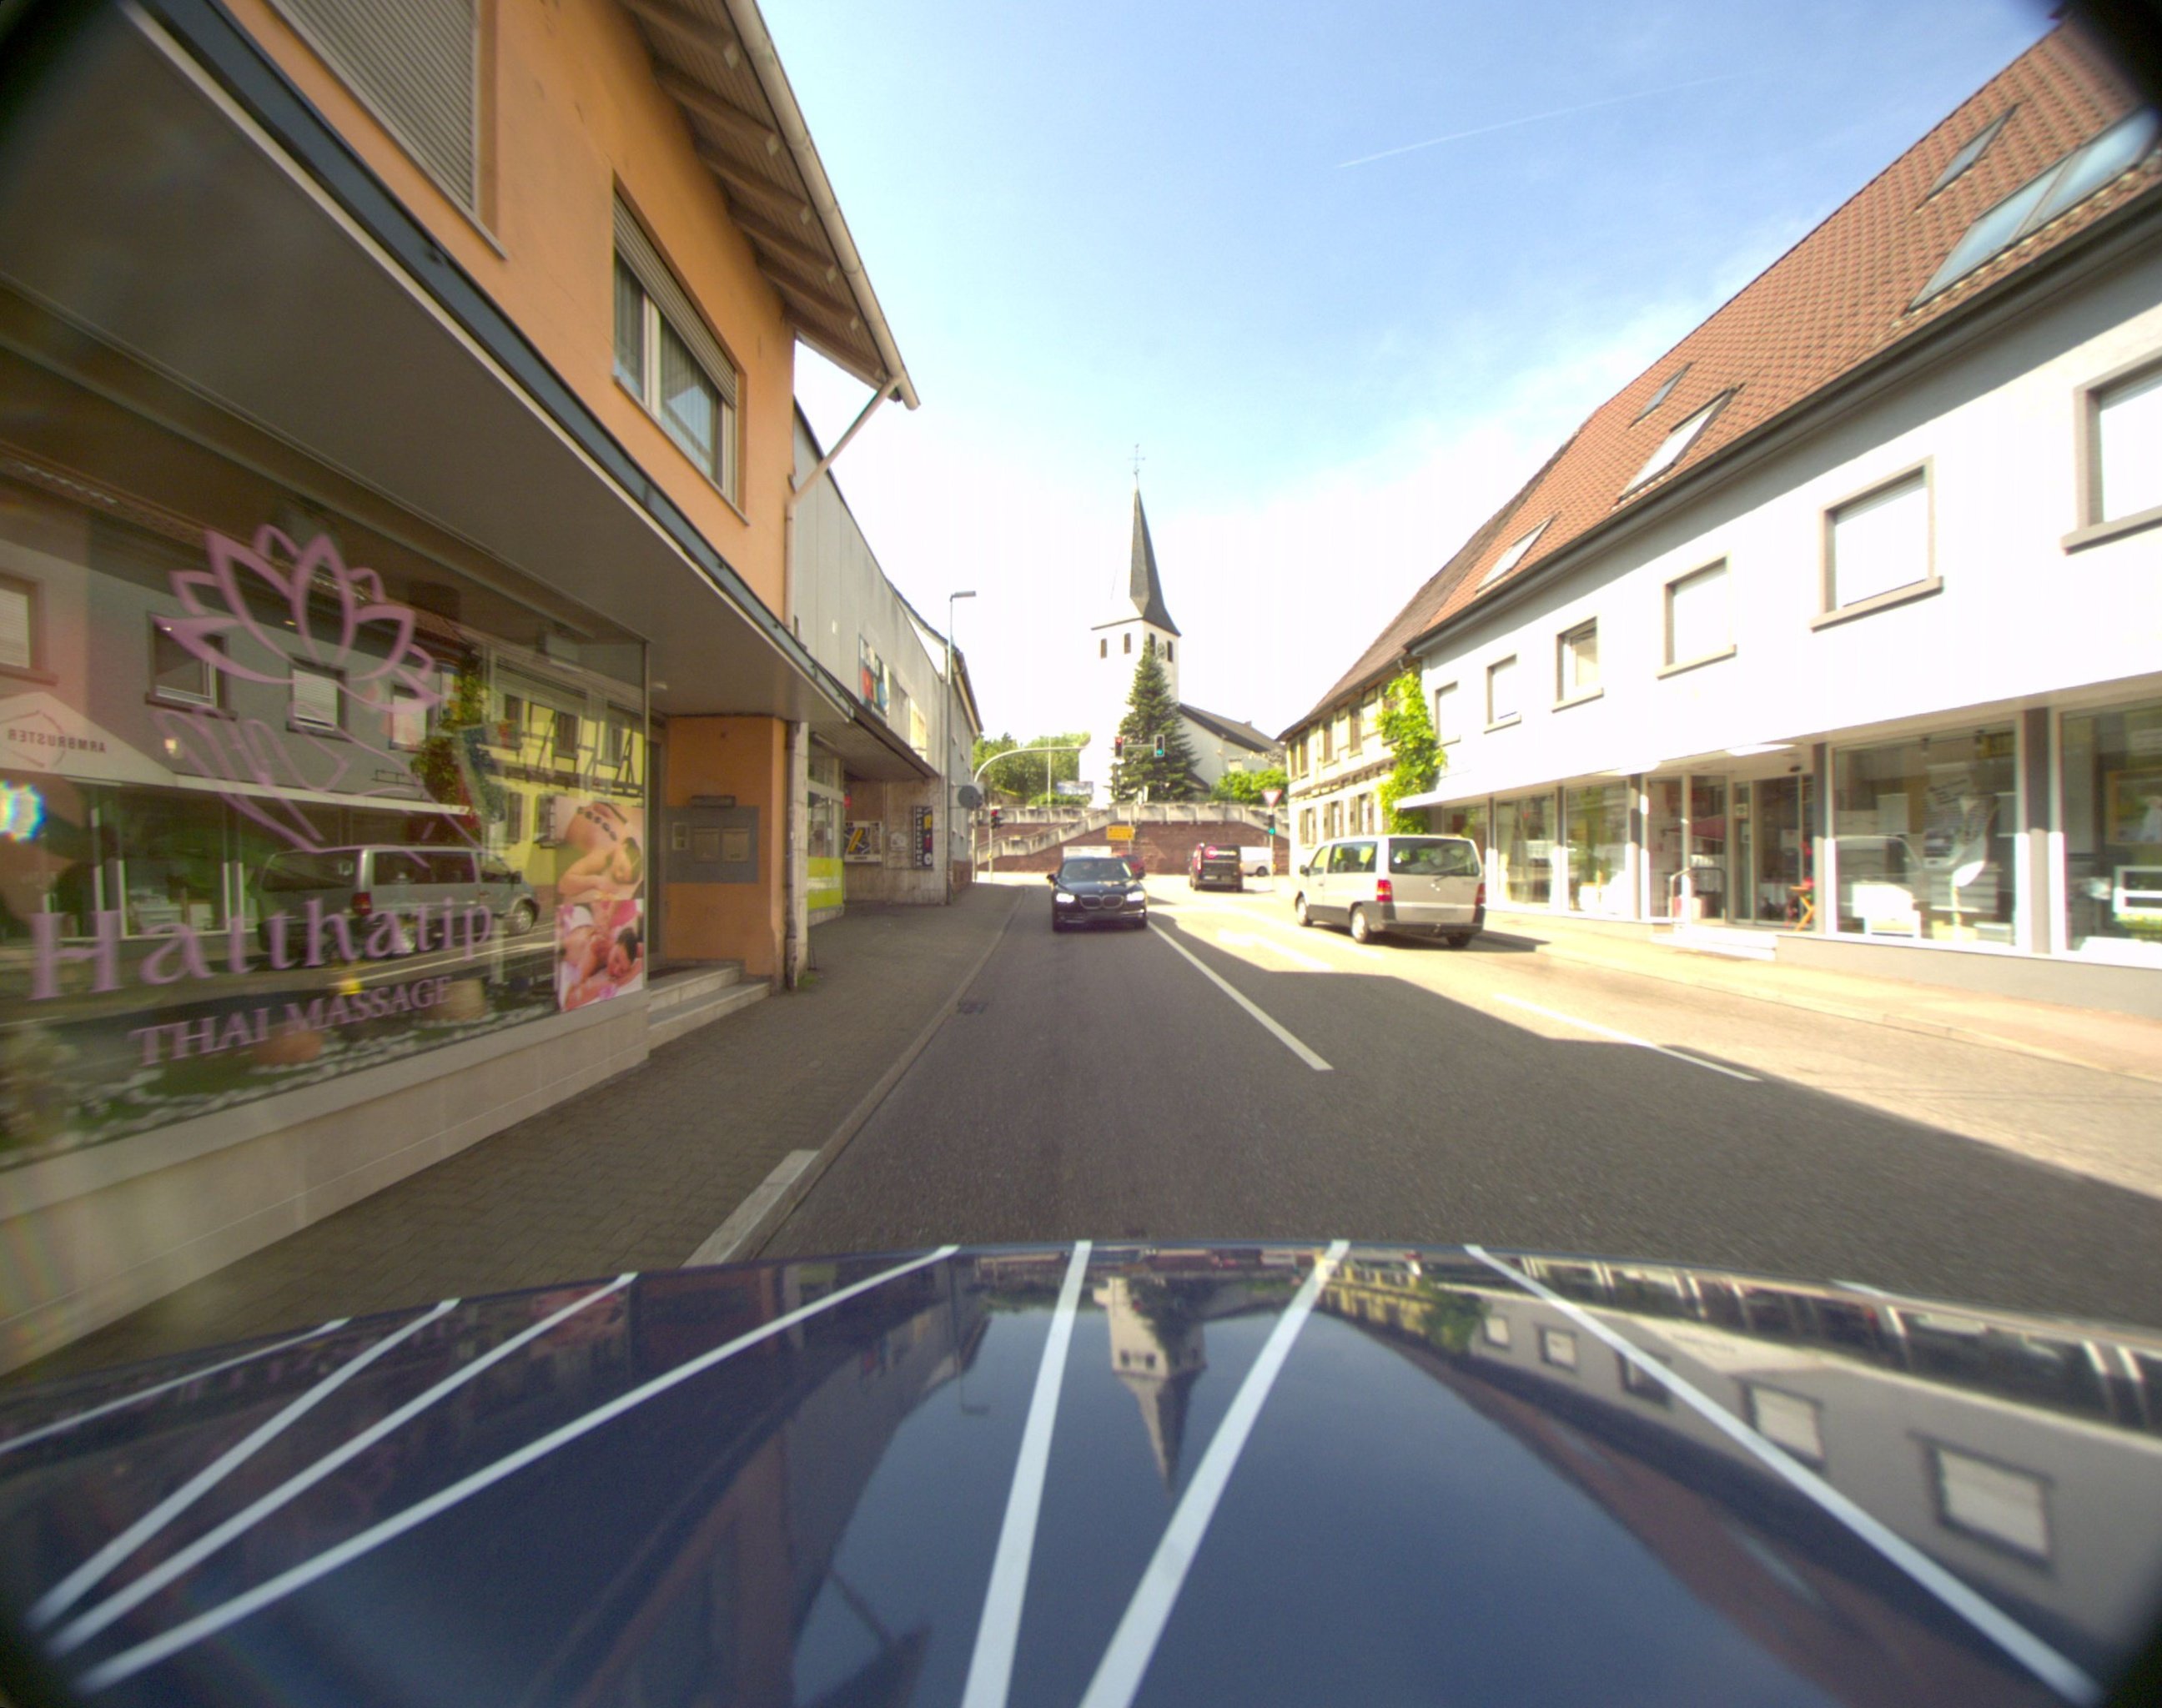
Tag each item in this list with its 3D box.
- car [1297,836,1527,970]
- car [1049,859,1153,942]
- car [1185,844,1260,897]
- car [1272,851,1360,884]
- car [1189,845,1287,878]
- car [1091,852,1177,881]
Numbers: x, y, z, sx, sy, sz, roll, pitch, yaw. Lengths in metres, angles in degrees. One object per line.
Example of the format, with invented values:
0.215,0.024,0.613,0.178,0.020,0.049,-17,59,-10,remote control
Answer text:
5.462,0.710,13.315,1.888,1.879,4.551,2,0,-1,car
0.346,0.841,15.546,1.825,1.426,4.248,0,0,0,car
5.742,0.635,31.515,2.164,1.912,5.166,3,0,2,car
13.131,0.747,42.472,4.433,1.601,1.757,2,2,-19,car
9.924,0.458,48.259,5.591,1.879,2.293,2,0,-7,car
3.023,0.653,42.707,2.160,1.506,4.958,1,1,43,car
